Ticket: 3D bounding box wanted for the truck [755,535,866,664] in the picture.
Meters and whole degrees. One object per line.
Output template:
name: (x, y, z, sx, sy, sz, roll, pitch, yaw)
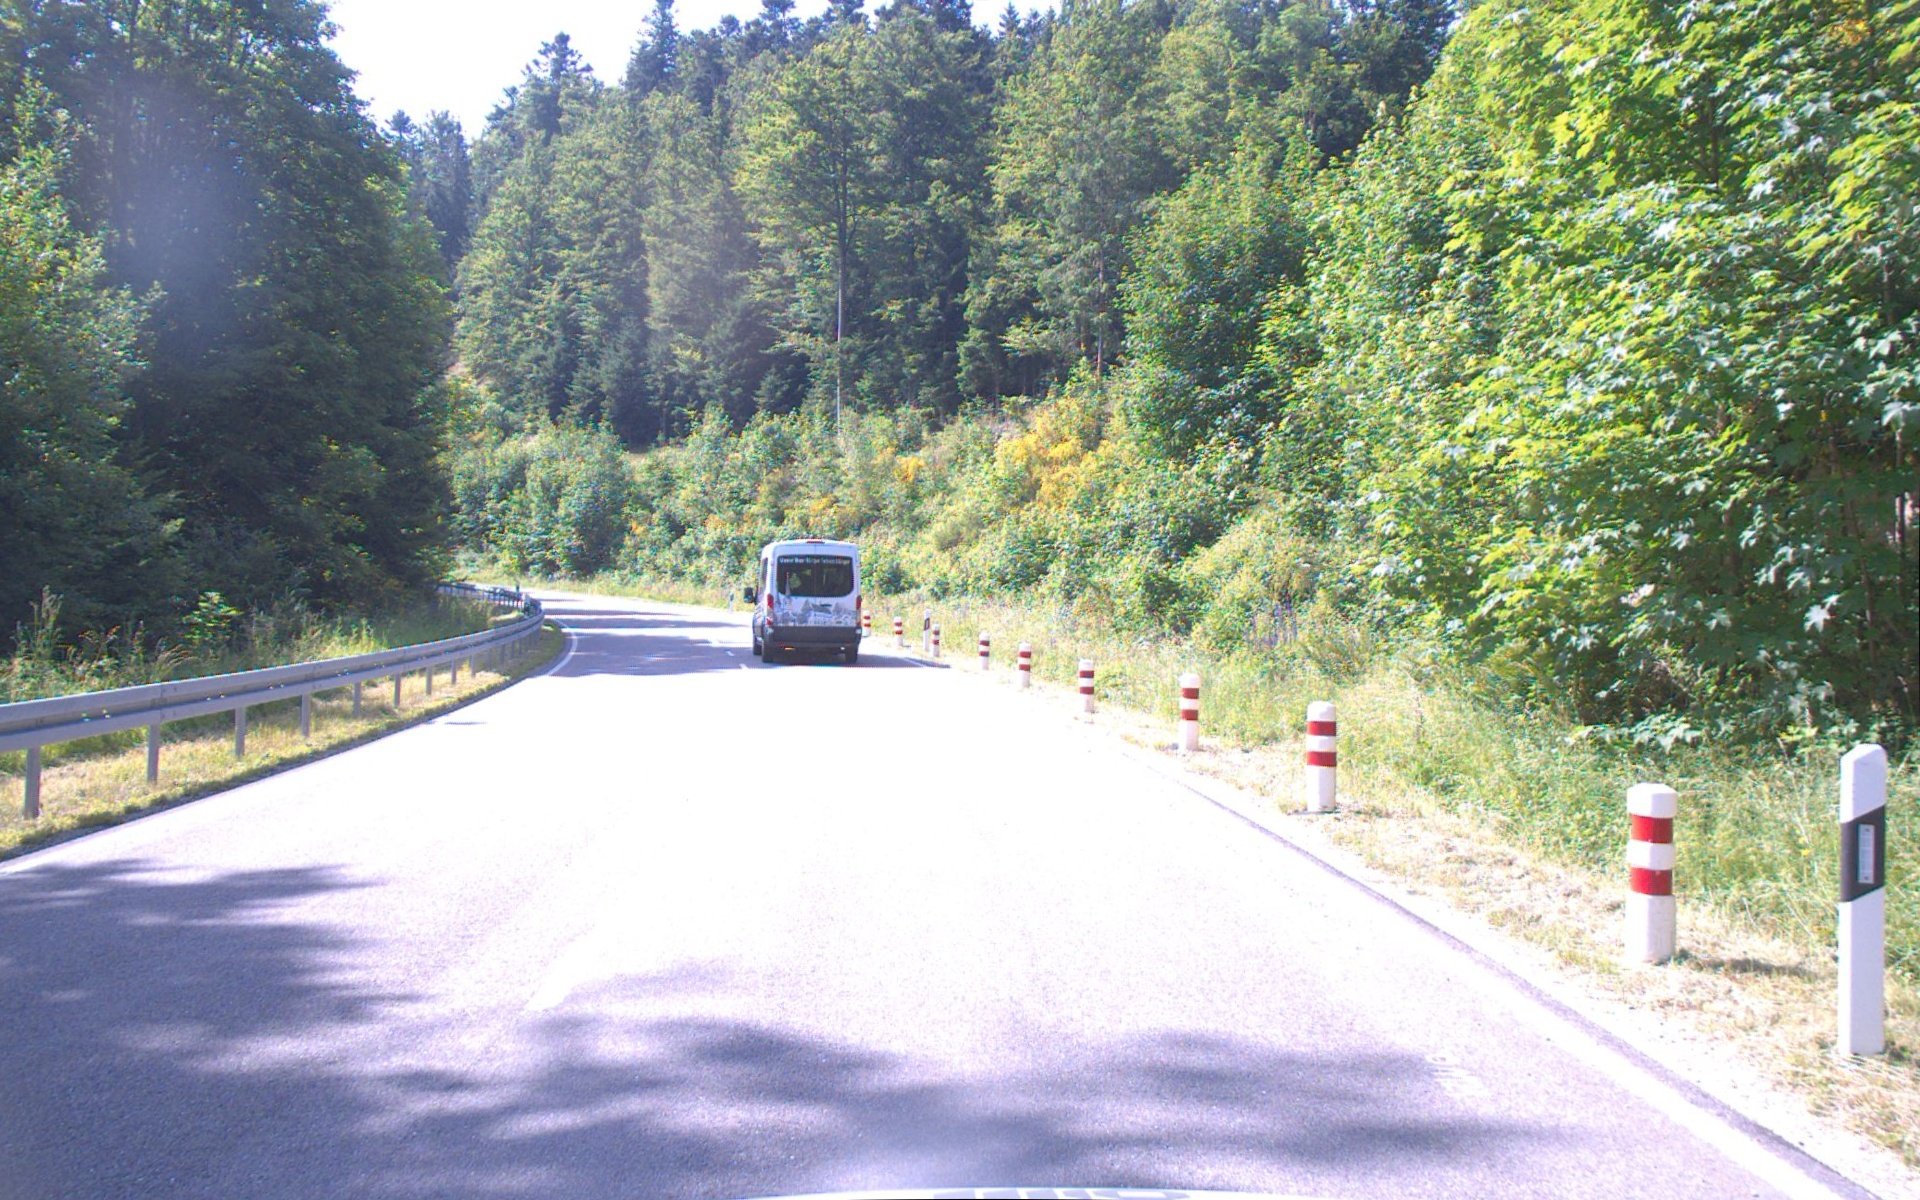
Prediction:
truck: (-3.300, -0.048, 35.516, 2.076, 2.542, 5.349, 0, 1, -8)
